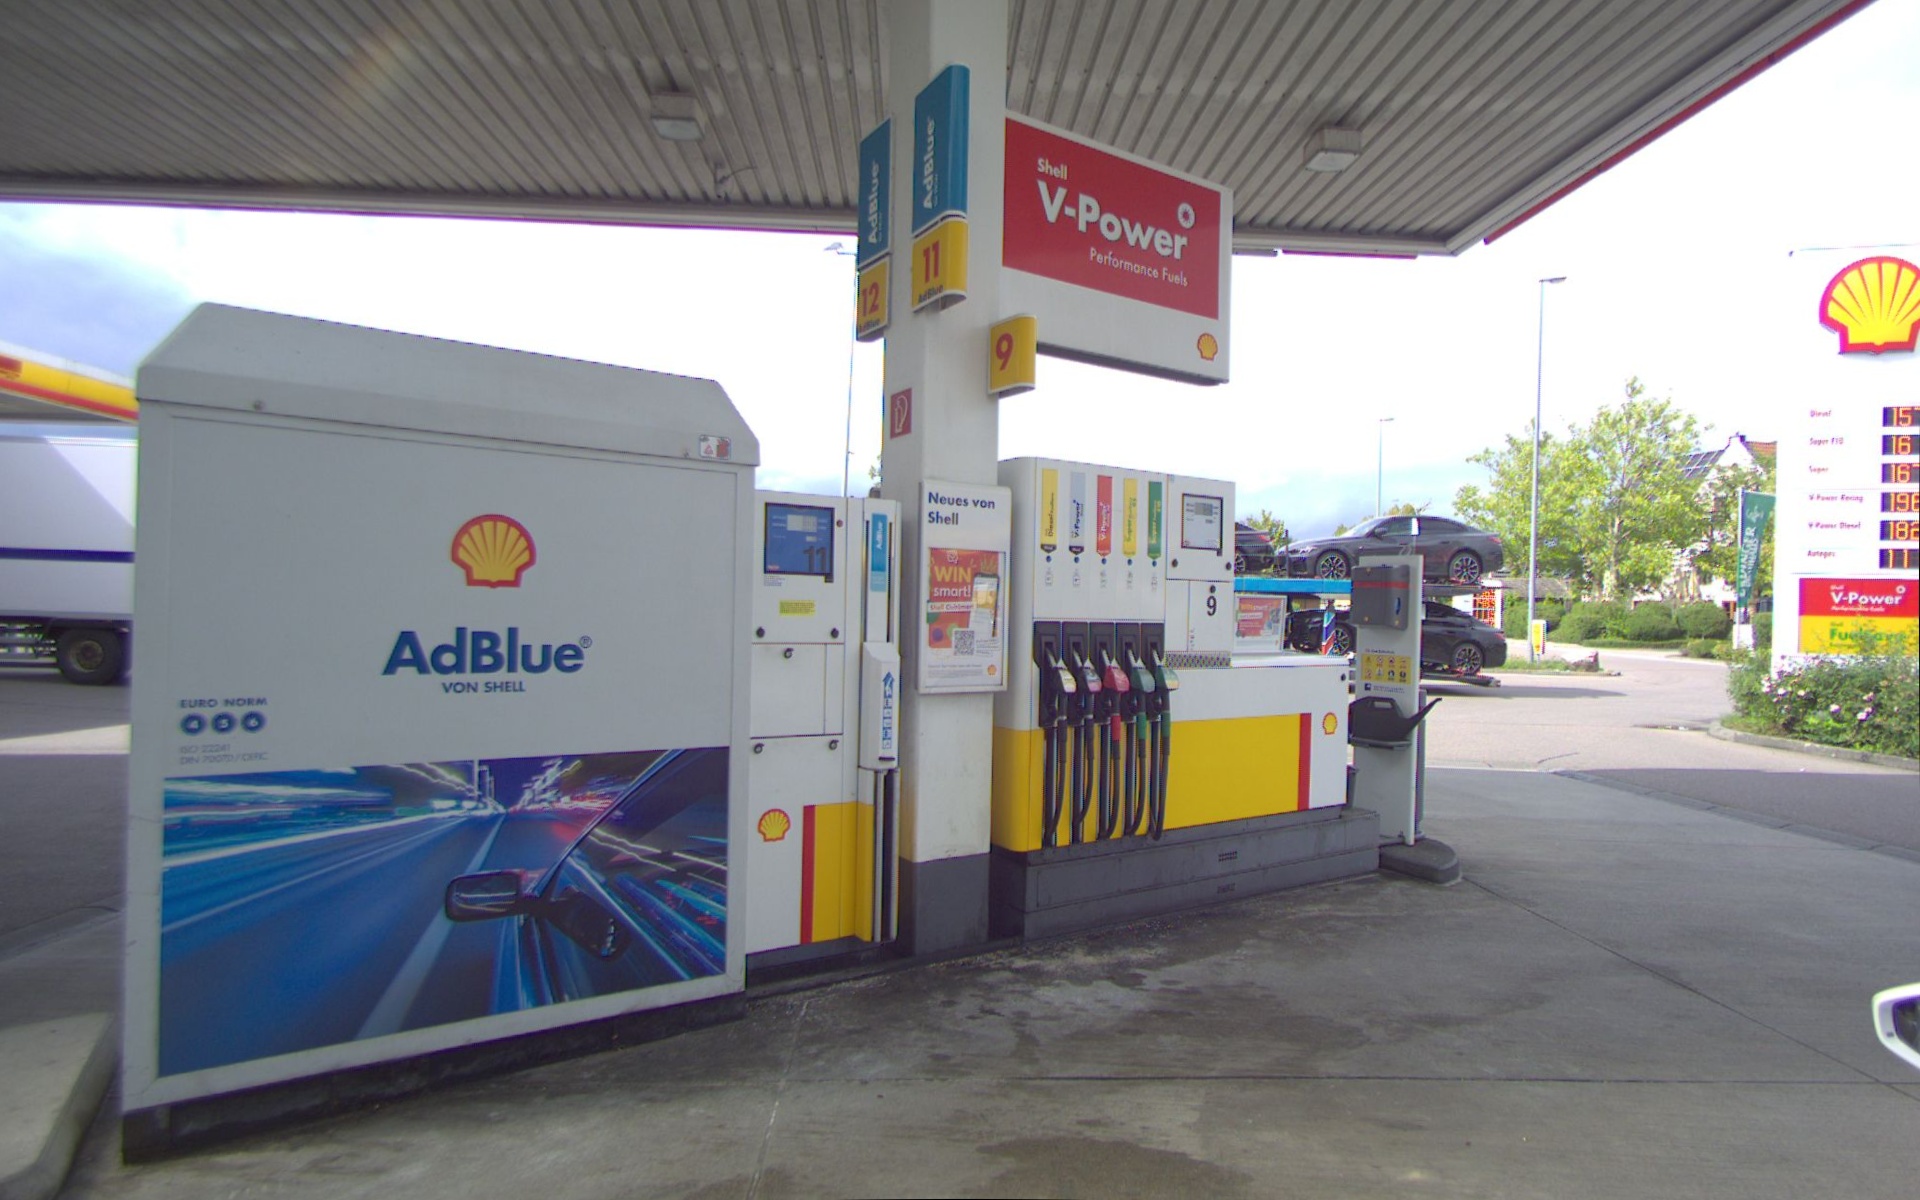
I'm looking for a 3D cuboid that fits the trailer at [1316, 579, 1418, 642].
[{"bbox_3d":[27.542,0.679,68.782,2.684,3.826,12.718,2,0,5],"label":"trailer"}]

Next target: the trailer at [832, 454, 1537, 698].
[{"bbox_3d":[4.527,-0.472,21.579,14.077,4.481,2.746,2,0,0],"label":"trailer"}]

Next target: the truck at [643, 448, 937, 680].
[{"bbox_3d":[-3.448,-0.707,21.539,5.713,4.479,2.750,2,0,0],"label":"truck"}]

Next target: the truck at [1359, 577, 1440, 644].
[{"bbox_3d":[27.011,0.628,61.969,2.686,3.897,5.921,2,0,5],"label":"truck"}]

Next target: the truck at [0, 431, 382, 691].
[{"bbox_3d":[-17.299,-0.740,17.492,12.654,4.092,2.534,2,0,-3],"label":"truck"}]
